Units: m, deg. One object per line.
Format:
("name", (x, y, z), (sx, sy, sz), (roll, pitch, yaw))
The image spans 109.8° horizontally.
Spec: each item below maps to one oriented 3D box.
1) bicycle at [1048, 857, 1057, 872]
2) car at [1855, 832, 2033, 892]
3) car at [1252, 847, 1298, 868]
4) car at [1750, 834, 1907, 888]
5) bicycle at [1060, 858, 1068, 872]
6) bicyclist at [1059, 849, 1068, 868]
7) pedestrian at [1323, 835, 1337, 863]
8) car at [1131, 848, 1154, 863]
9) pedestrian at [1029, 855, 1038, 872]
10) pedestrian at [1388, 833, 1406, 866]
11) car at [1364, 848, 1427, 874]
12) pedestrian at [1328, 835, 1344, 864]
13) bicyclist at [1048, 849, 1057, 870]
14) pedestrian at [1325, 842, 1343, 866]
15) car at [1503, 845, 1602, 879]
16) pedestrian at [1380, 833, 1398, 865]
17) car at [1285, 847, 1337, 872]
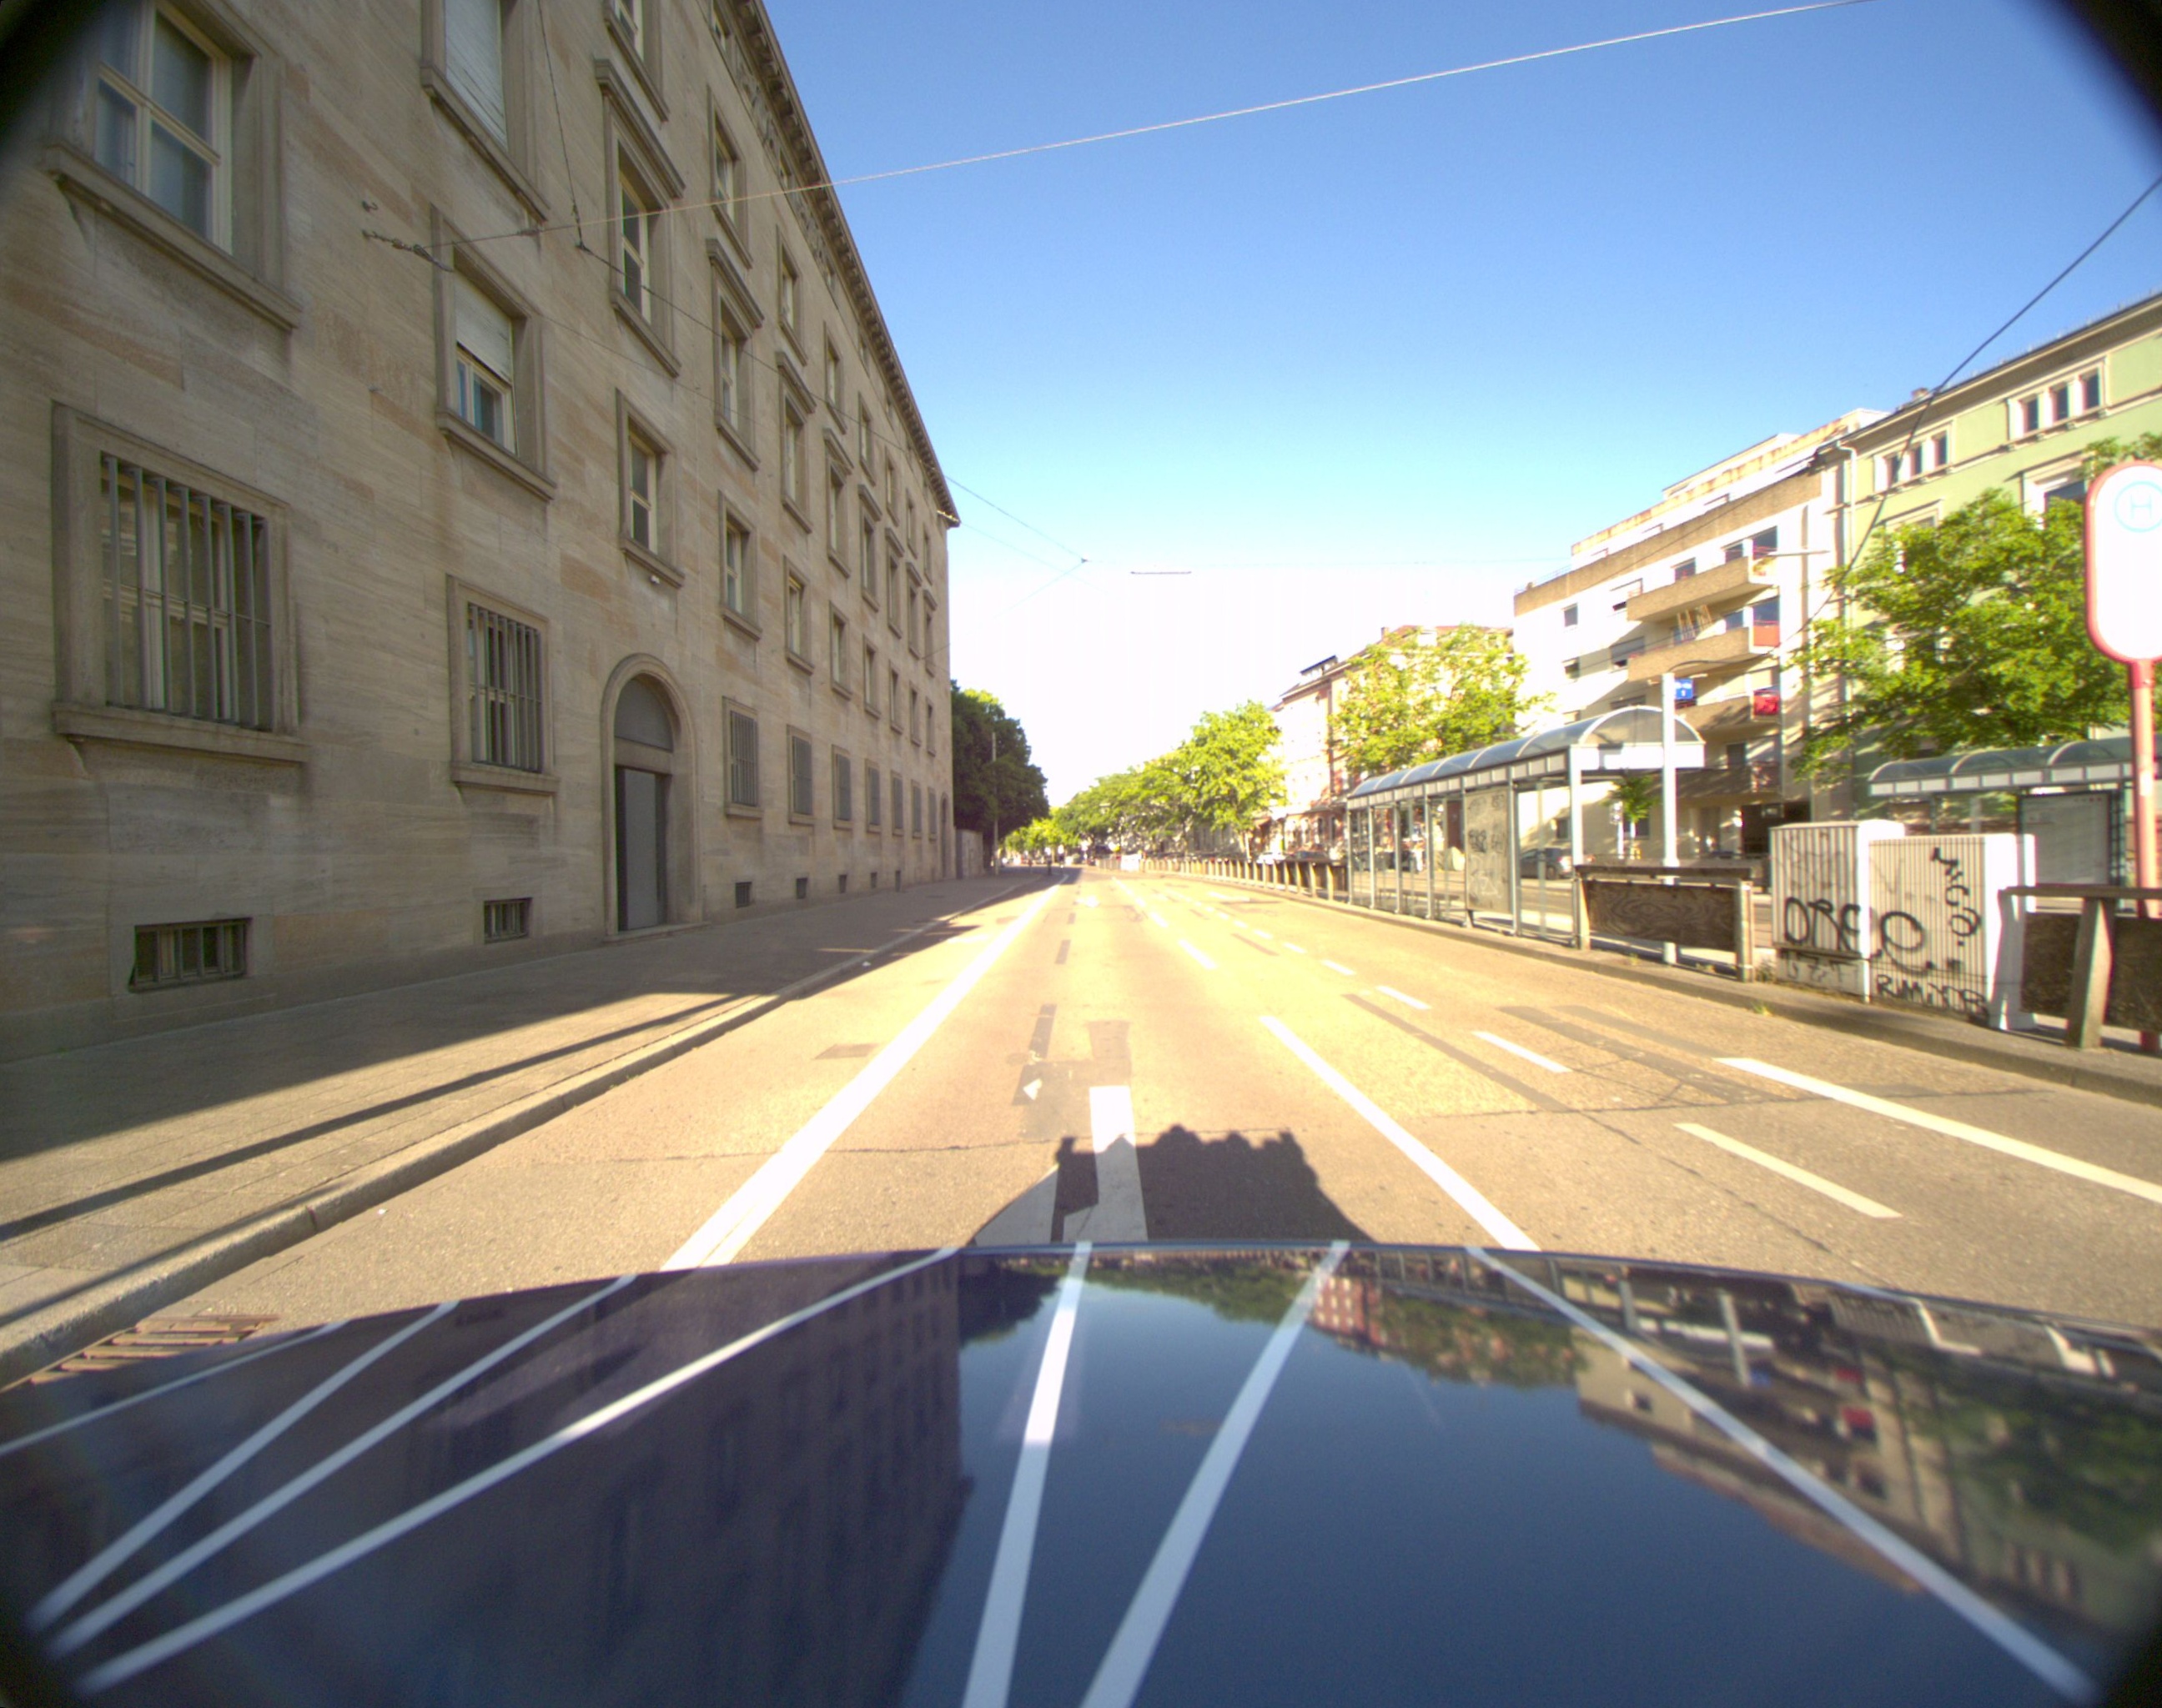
("bicycle", (-2.391, 0.856, 63.983), (0.625, 1.214, 1.659), (-3, 1, 1))
("car", (24.696, 0.197, 21.782), (4.002, 1.573, 1.761), (-1, 0, -14))
("car", (16.262, 0.256, 63.564), (4.134, 1.698, 1.848), (-1, 1, -45))
("car", (23.896, 0.199, 24.322), (4.002, 1.573, 1.761), (-1, 0, -14))
("bicycle", (-1.454, 0.907, 63.687), (0.625, 1.167, 1.566), (0, 0, 1))
("bicyclist", (-1.443, 0.369, 63.976), (0.728, 1.570, 0.775), (0, 1, 1))
("pedestrian", (19.447, -0.378, 59.363), (0.812, 2.194, 0.756), (-1, 1, -4))
("car", (6.256, 0.146, 77.888), (1.670, 1.400, 3.877), (0, 0, -5))
("pedestrian", (-3.665, 0.724, 58.946), (0.548, 1.327, 0.587), (-1, 1, 7))
("pedestrian", (21.311, -0.290, 51.299), (0.813, 2.194, 0.756), (-1, 1, -10))
("car", (18.437, 0.392, 44.735), (1.609, 1.388, 3.997), (-1, 0, -9))
("pedestrian", (19.380, -0.357, 57.724), (0.813, 2.194, 0.756), (-1, 1, -10))
("bicyclist", (-2.411, 0.418, 64.085), (0.625, 1.729, 0.688), (-3, 1, 1))
("pedestrian", (18.444, -0.001, 55.492), (0.855, 1.710, 1.019), (-1, 1, -9))
("car", (20.929, 0.332, 33.930), (1.654, 1.419, 3.737), (-1, 0, -11))
("pedestrian", (21.212, -0.368, 52.346), (0.813, 2.194, 0.756), (-1, 1, -10))
("car", (14.566, 0.335, 48.391), (1.648, 1.480, 3.997), (-1, 0, -7))
